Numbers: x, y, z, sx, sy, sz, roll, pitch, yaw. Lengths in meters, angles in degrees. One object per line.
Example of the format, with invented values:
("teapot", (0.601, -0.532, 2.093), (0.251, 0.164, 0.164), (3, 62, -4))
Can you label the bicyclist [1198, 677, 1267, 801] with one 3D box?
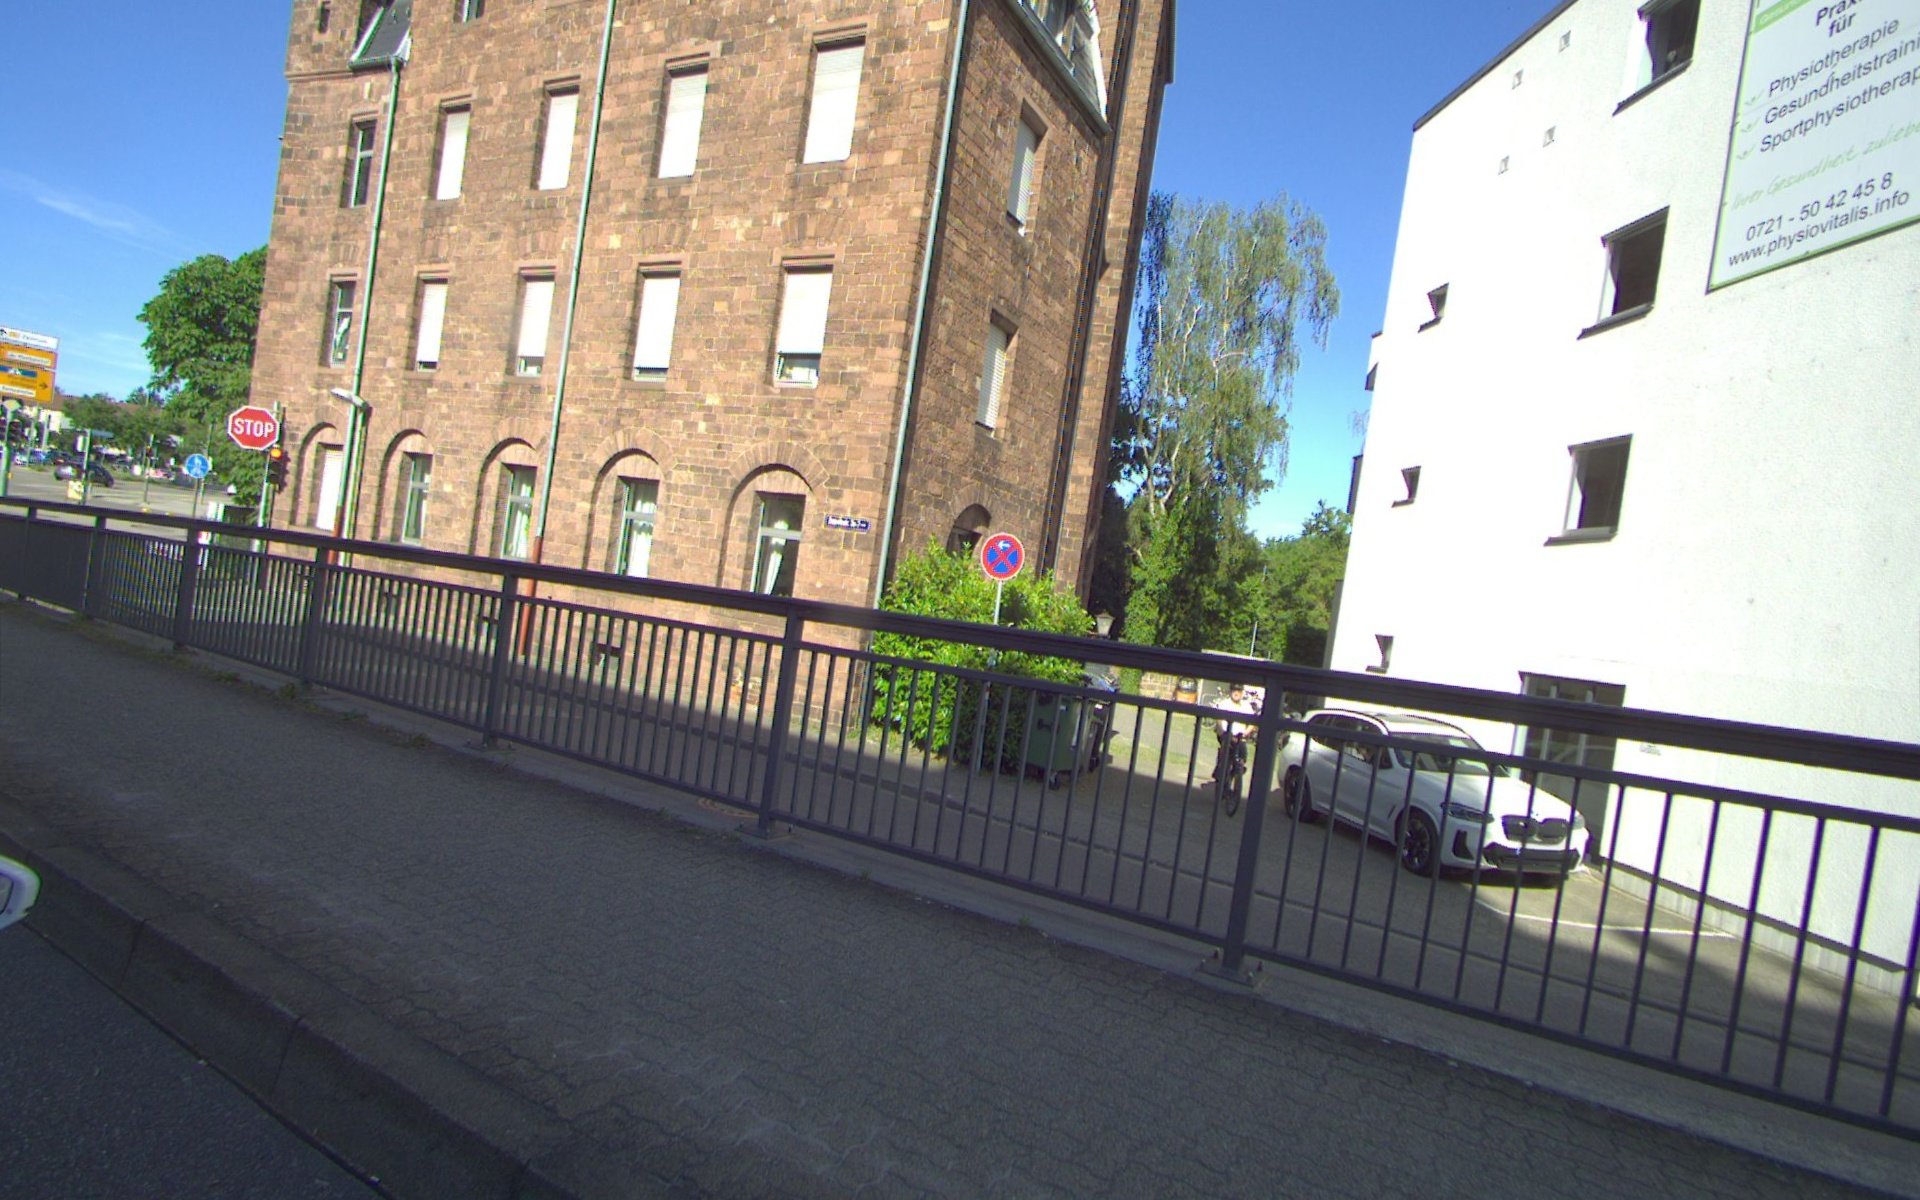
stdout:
("bicyclist", (3.914, 1.983, 14.521), (0.675, 1.627, 0.697), (9, 0, 11))

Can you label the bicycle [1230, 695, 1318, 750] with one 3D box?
("bicycle", (7.873, 3.082, 25.275), (1.889, 1.065, 0.664), (8, 1, -6))

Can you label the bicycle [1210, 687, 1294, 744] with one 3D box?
("bicycle", (7.672, 3.025, 26.442), (1.889, 1.174, 0.664), (8, 1, -6))

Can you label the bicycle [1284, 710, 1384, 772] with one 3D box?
("bicycle", (8.338, 3.138, 22.445), (1.889, 1.065, 0.664), (8, 1, -6))

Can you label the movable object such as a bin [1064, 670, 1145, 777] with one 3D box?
("movable object such as a bin", (2.405, 2.016, 16.657), (1.009, 1.539, 1.007), (9, 0, 14))

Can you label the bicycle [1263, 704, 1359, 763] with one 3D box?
("bicycle", (8.133, 3.094, 23.359), (1.889, 1.065, 0.664), (8, 1, -6))

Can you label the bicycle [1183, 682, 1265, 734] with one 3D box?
("bicycle", (7.668, 3.136, 29.260), (2.075, 1.174, 0.664), (8, 1, -9))

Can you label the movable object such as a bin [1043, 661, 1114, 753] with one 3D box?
("movable object such as a bin", (2.289, 2.017, 19.264), (1.009, 1.539, 1.007), (9, 0, 14))

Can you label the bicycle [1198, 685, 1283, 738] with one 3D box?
("bicycle", (7.912, 3.134, 28.407), (2.075, 1.174, 0.664), (8, 1, -9))

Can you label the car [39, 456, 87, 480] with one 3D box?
("car", (-82.311, -12.081, 92.344), (1.860, 1.598, 3.978), (8, 1, -22))

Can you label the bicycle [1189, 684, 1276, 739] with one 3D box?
("bicycle", (7.410, 3.027, 27.375), (2.075, 1.174, 0.664), (8, 1, -9))

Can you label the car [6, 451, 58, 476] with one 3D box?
("car", (-79.893, -11.718, 86.642), (1.860, 1.598, 3.978), (8, 1, -22))

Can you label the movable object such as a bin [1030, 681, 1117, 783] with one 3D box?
("movable object such as a bin", (1.764, 1.999, 15.476), (1.009, 1.307, 1.007), (10, 0, 14))

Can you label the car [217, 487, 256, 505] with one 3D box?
("car", (-72.768, -10.419, 101.206), (1.973, 1.382, 4.290), (8, 2, -21))

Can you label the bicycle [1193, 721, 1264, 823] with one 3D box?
("bicycle", (3.842, 2.435, 14.512), (0.677, 1.154, 1.841), (9, -1, 11))

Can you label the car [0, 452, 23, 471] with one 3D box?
("car", (-91.607, -13.338, 95.935), (1.860, 1.598, 3.978), (8, 1, -22))

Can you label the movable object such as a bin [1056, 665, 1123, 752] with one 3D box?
("movable object such as a bin", (2.650, 2.183, 20.453), (1.009, 1.539, 1.007), (9, 0, 14))

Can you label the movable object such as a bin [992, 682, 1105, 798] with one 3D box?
("movable object such as a bin", (1.196, 1.851, 13.513), (1.011, 1.307, 1.005), (10, 0, 29))

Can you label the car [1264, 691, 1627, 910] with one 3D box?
("car", (5.970, 2.403, 13.155), (1.814, 1.707, 4.521), (8, 0, -9))

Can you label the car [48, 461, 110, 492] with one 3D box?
("car", (-62.113, -8.658, 70.984), (1.719, 1.515, 3.985), (7, -1, -18))

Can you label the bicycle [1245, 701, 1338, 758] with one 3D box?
("bicycle", (7.978, 3.114, 24.247), (1.889, 1.065, 0.664), (8, 1, -6))
